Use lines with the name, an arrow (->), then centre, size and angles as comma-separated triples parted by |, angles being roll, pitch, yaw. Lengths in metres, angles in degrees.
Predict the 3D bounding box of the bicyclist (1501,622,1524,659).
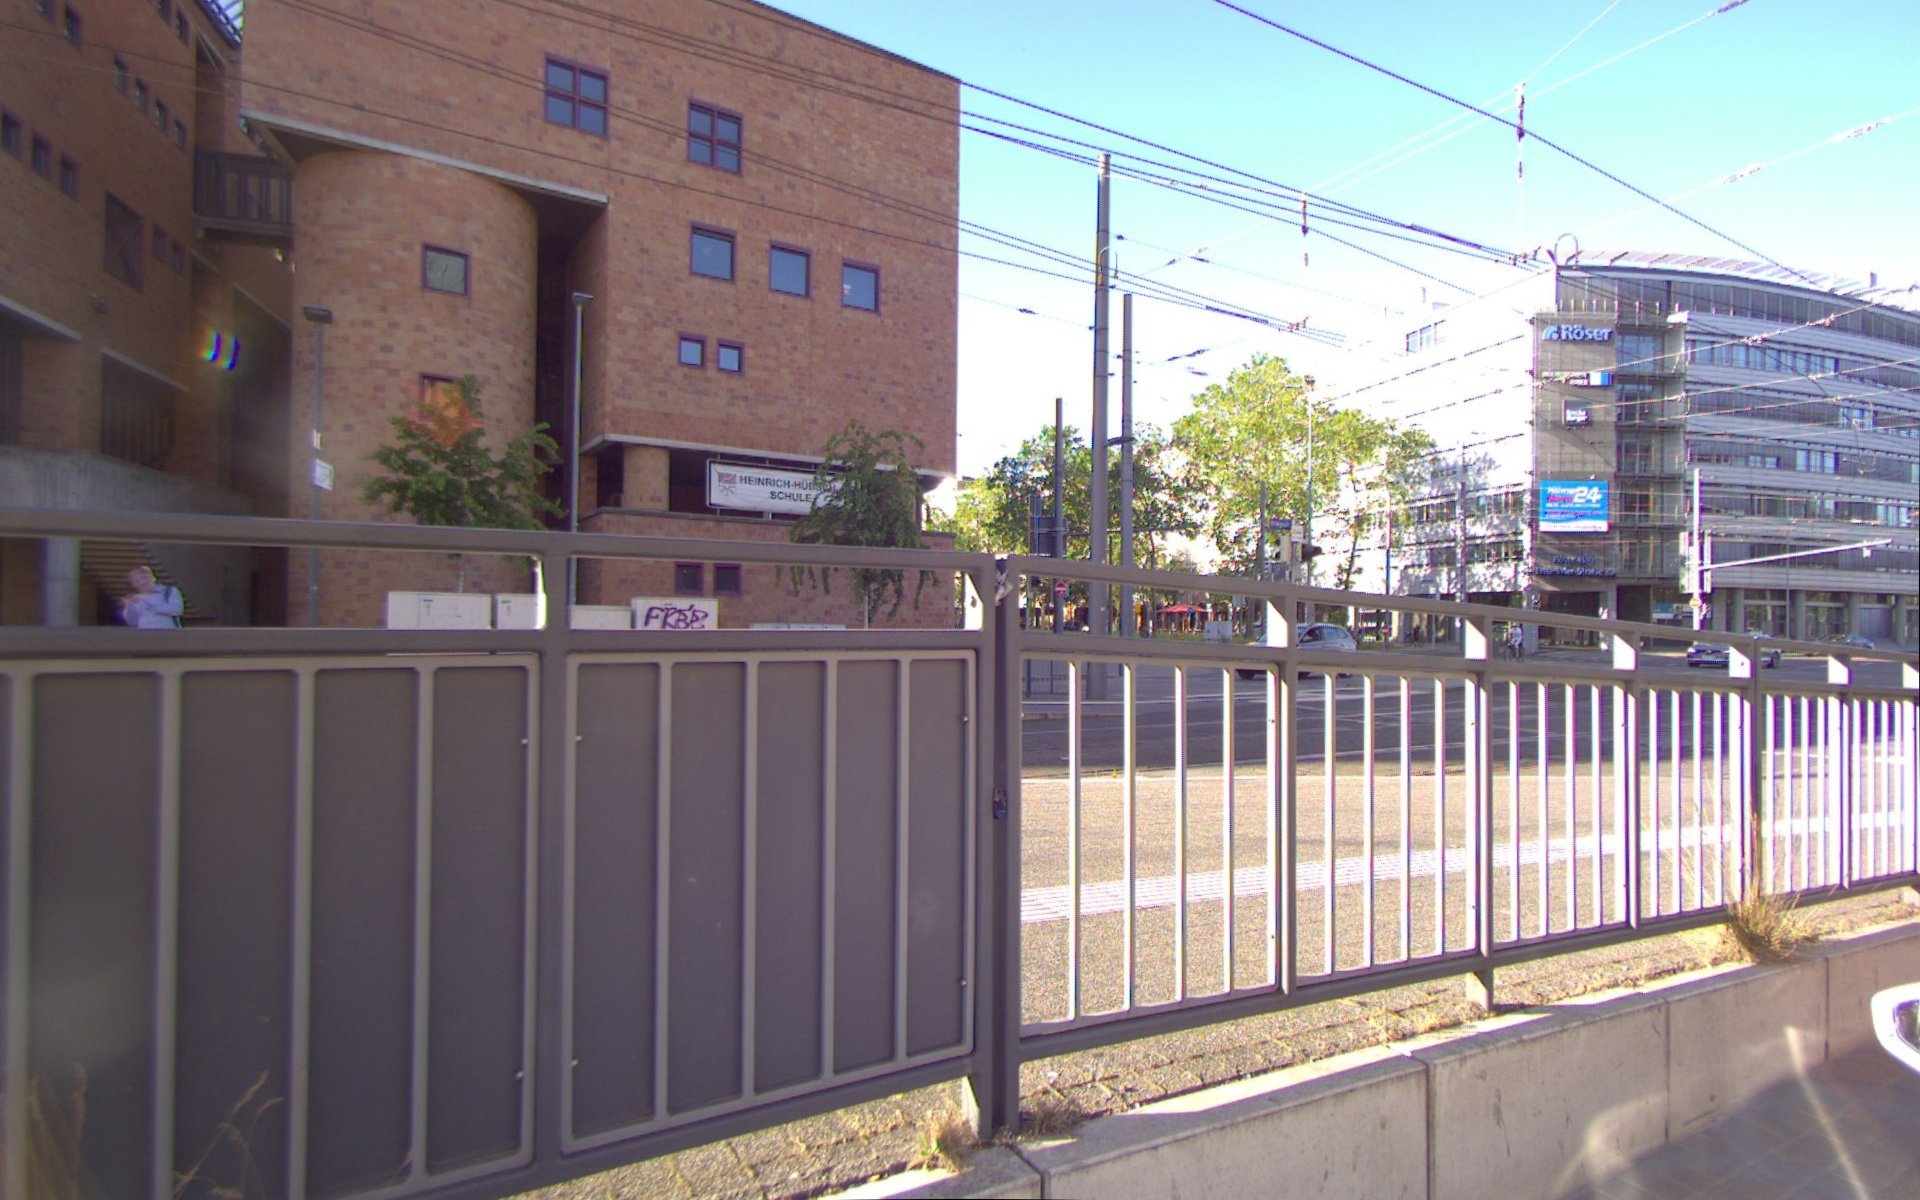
bicyclist -> 23.666, 1.734, 43.013 | 0.642, 1.554, 0.584 | 2, 0, -30

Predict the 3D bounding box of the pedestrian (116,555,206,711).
pedestrian -> -8.831, 0.353, 11.125 | 0.679, 1.656, 0.662 | 2, 0, -34

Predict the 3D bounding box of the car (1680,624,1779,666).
car -> 31.182, 1.829, 40.663 | 4.646, 1.589, 1.814 | 2, -2, -34

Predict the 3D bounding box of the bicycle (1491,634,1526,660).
bicycle -> 23.521, 2.028, 43.038 | 1.793, 1.104, 0.458 | 2, -3, -30

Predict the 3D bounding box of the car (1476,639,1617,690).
car -> 14.500, 1.563, 24.899 | 2.841, 1.077, 1.238 | 2, 0, 40

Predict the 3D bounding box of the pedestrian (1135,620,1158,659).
pedestrian -> 8.416, 1.773, 45.326 | 0.785, 1.714, 0.587 | 2, 0, -29

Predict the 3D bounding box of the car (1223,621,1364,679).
car -> 9.852, 1.467, 29.563 | 4.198, 1.589, 1.814 | 2, -2, -34
